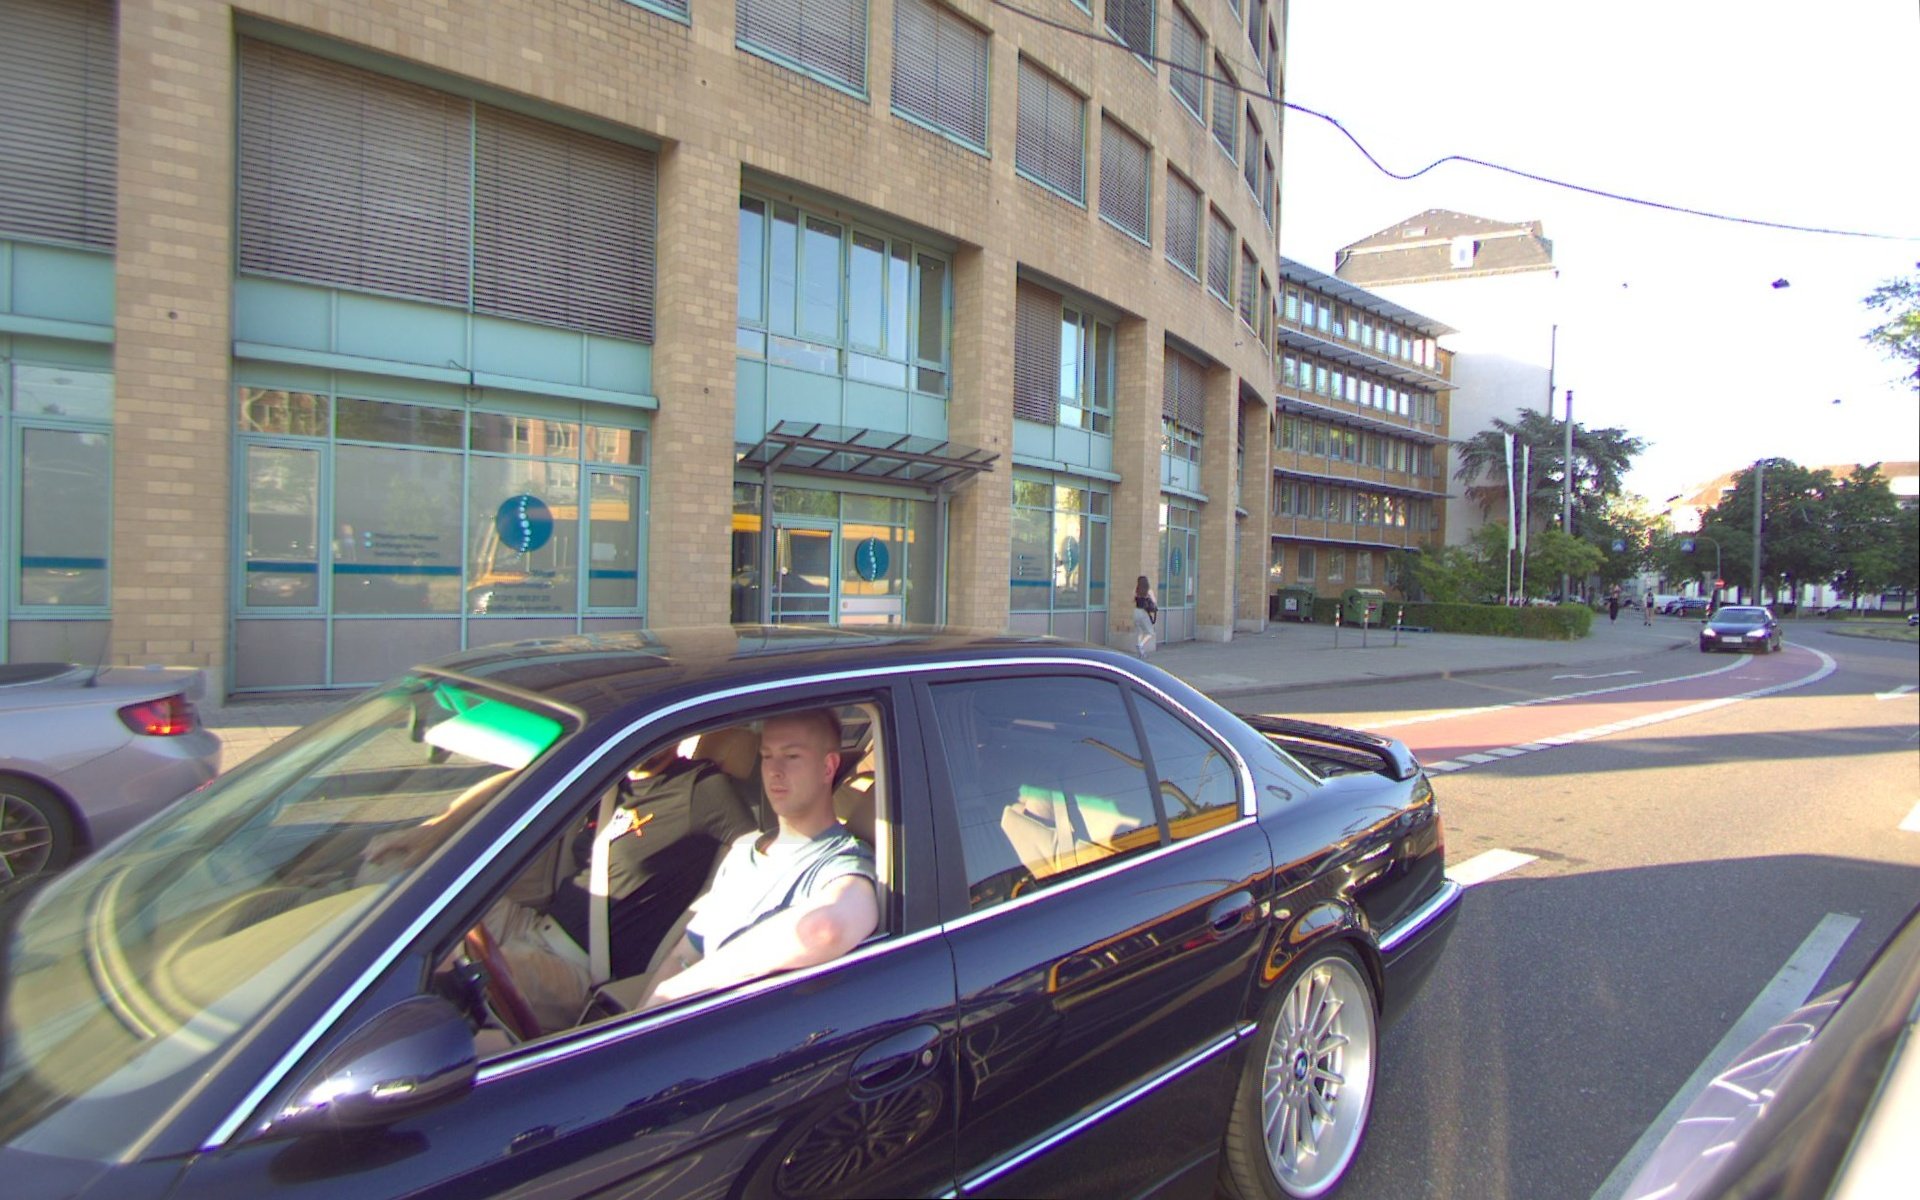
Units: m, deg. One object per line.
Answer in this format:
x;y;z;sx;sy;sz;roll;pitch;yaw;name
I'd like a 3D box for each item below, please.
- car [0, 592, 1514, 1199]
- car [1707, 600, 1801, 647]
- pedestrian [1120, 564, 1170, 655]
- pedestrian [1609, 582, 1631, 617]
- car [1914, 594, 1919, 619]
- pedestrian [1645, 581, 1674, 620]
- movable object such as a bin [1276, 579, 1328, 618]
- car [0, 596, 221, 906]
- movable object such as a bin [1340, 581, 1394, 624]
-0.720;0.698;2.323;4.656;1.402;1.997;0;1;-41;car
25.689;0.716;32.710;3.932;1.404;1.756;0;0;-42;car
3.554;0.177;19.409;0.702;1.702;0.626;0;1;-44;pedestrian
34.499;-0.027;52.896;0.711;1.830;0.728;0;1;-41;pedestrian
71.006;0.547;72.590;3.915;1.771;2.005;1;1;-17;car
35.335;0.021;51.153;0.900;1.918;1.119;1;1;21;pedestrian
13.348;-0.080;39.499;1.310;1.477;1.425;0;1;-43;movable object such as a bin
-5.904;0.685;4.480;4.152;1.403;1.747;0;0;-40;car
14.851;0.073;36.939;1.311;1.477;1.424;0;1;-45;movable object such as a bin
